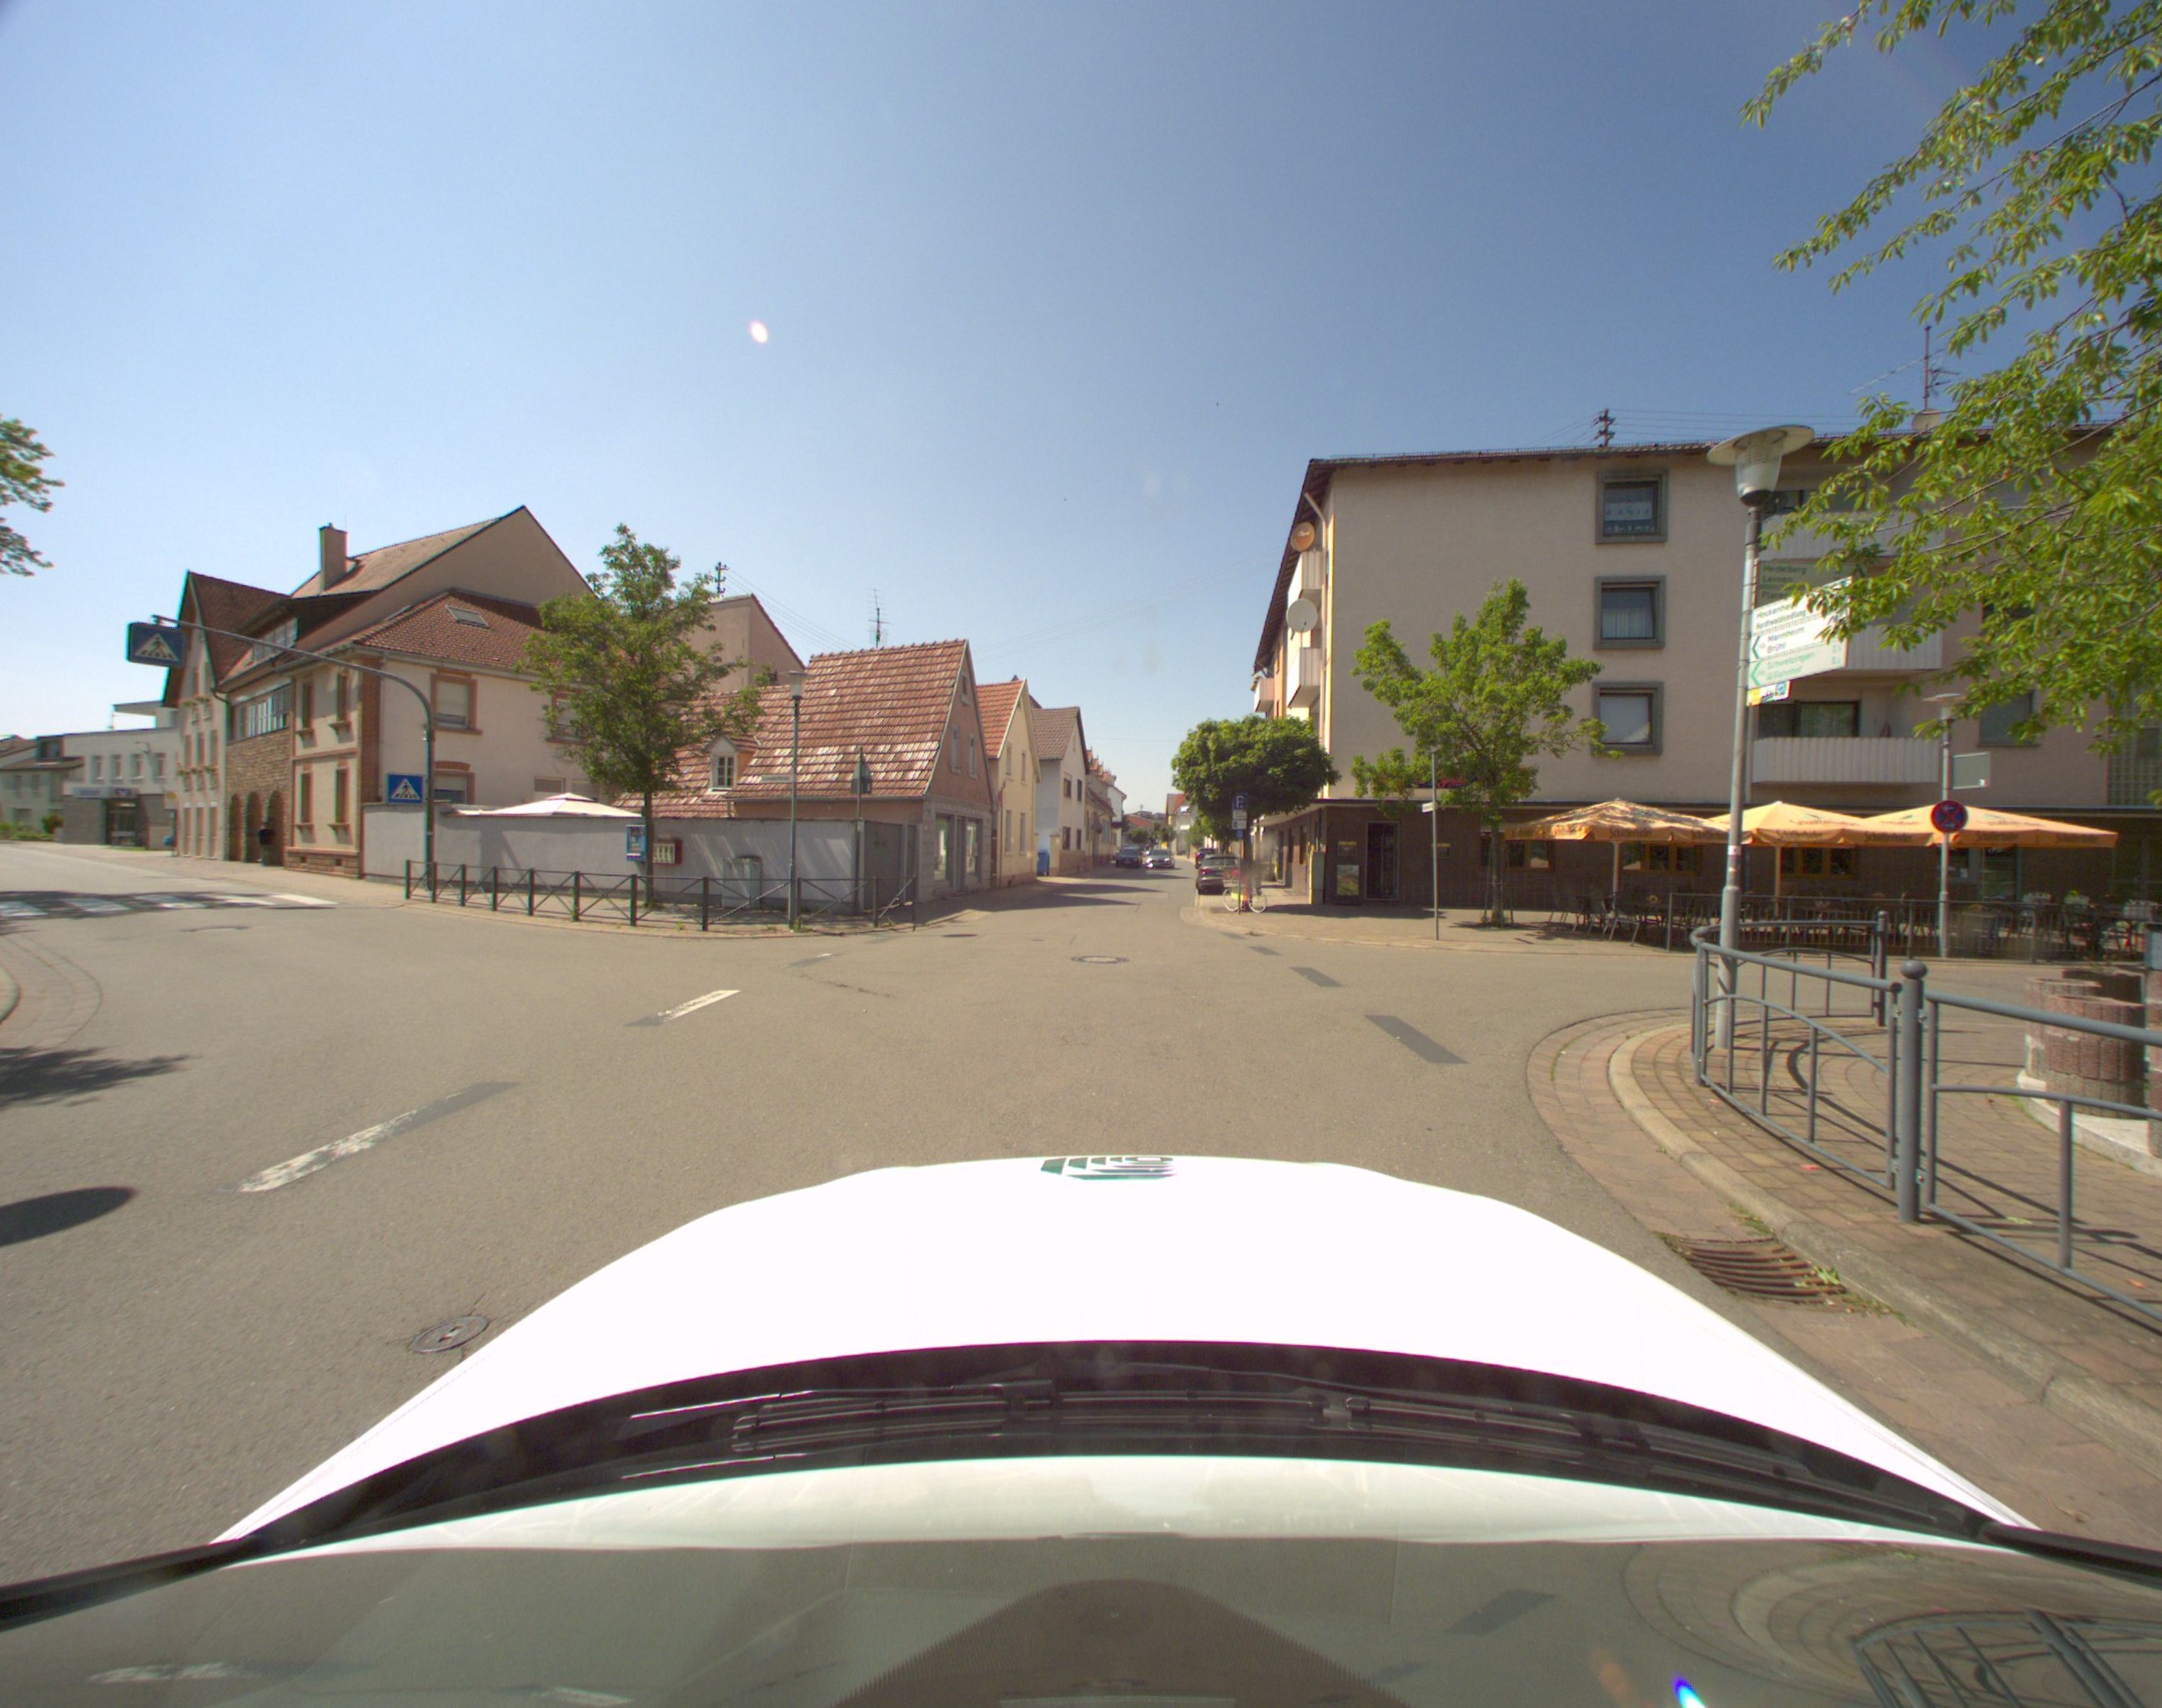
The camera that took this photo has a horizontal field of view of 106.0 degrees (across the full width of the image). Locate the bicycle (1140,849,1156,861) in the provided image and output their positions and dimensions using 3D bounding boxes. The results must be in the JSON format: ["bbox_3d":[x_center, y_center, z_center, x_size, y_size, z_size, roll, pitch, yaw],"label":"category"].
[{"bbox_3d":[7.537,0.071,91.713,1.617,1.370,3.927,0,0,2],"label":"bicycle"}]

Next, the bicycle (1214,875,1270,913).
[{"bbox_3d":[4.180,1.025,21.168,1.396,0.897,0.467,0,1,44],"label":"bicycle"}]

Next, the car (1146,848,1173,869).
[{"bbox_3d":[5.819,0.315,60.377,1.900,1.481,4.852,0,1,6],"label":"car"}]

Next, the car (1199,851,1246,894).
[{"bbox_3d":[5.162,0.639,29.757,1.566,1.454,3.495,0,0,9],"label":"car"}]

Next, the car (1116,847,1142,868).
[{"bbox_3d":[3.620,0.234,61.279,1.654,1.476,4.143,0,0,7],"label":"car"}]

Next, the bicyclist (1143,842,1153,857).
[{"bbox_3d":[7.503,-0.484,91.605,1.042,1.637,1.129,0,0,2],"label":"bicyclist"}]

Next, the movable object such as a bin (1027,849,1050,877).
[{"bbox_3d":[-2.099,0.446,40.369,1.094,1.365,0.391,0,0,11],"label":"movable object such as a bin"}]

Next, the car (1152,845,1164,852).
[{"bbox_3d":[18.617,-1.305,196.404,2.011,1.598,4.530,0,0,19],"label":"car"}]

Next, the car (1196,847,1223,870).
[{"bbox_3d":[9.954,0.296,63.363,2.031,1.689,4.852,0,0,8],"label":"car"}]
